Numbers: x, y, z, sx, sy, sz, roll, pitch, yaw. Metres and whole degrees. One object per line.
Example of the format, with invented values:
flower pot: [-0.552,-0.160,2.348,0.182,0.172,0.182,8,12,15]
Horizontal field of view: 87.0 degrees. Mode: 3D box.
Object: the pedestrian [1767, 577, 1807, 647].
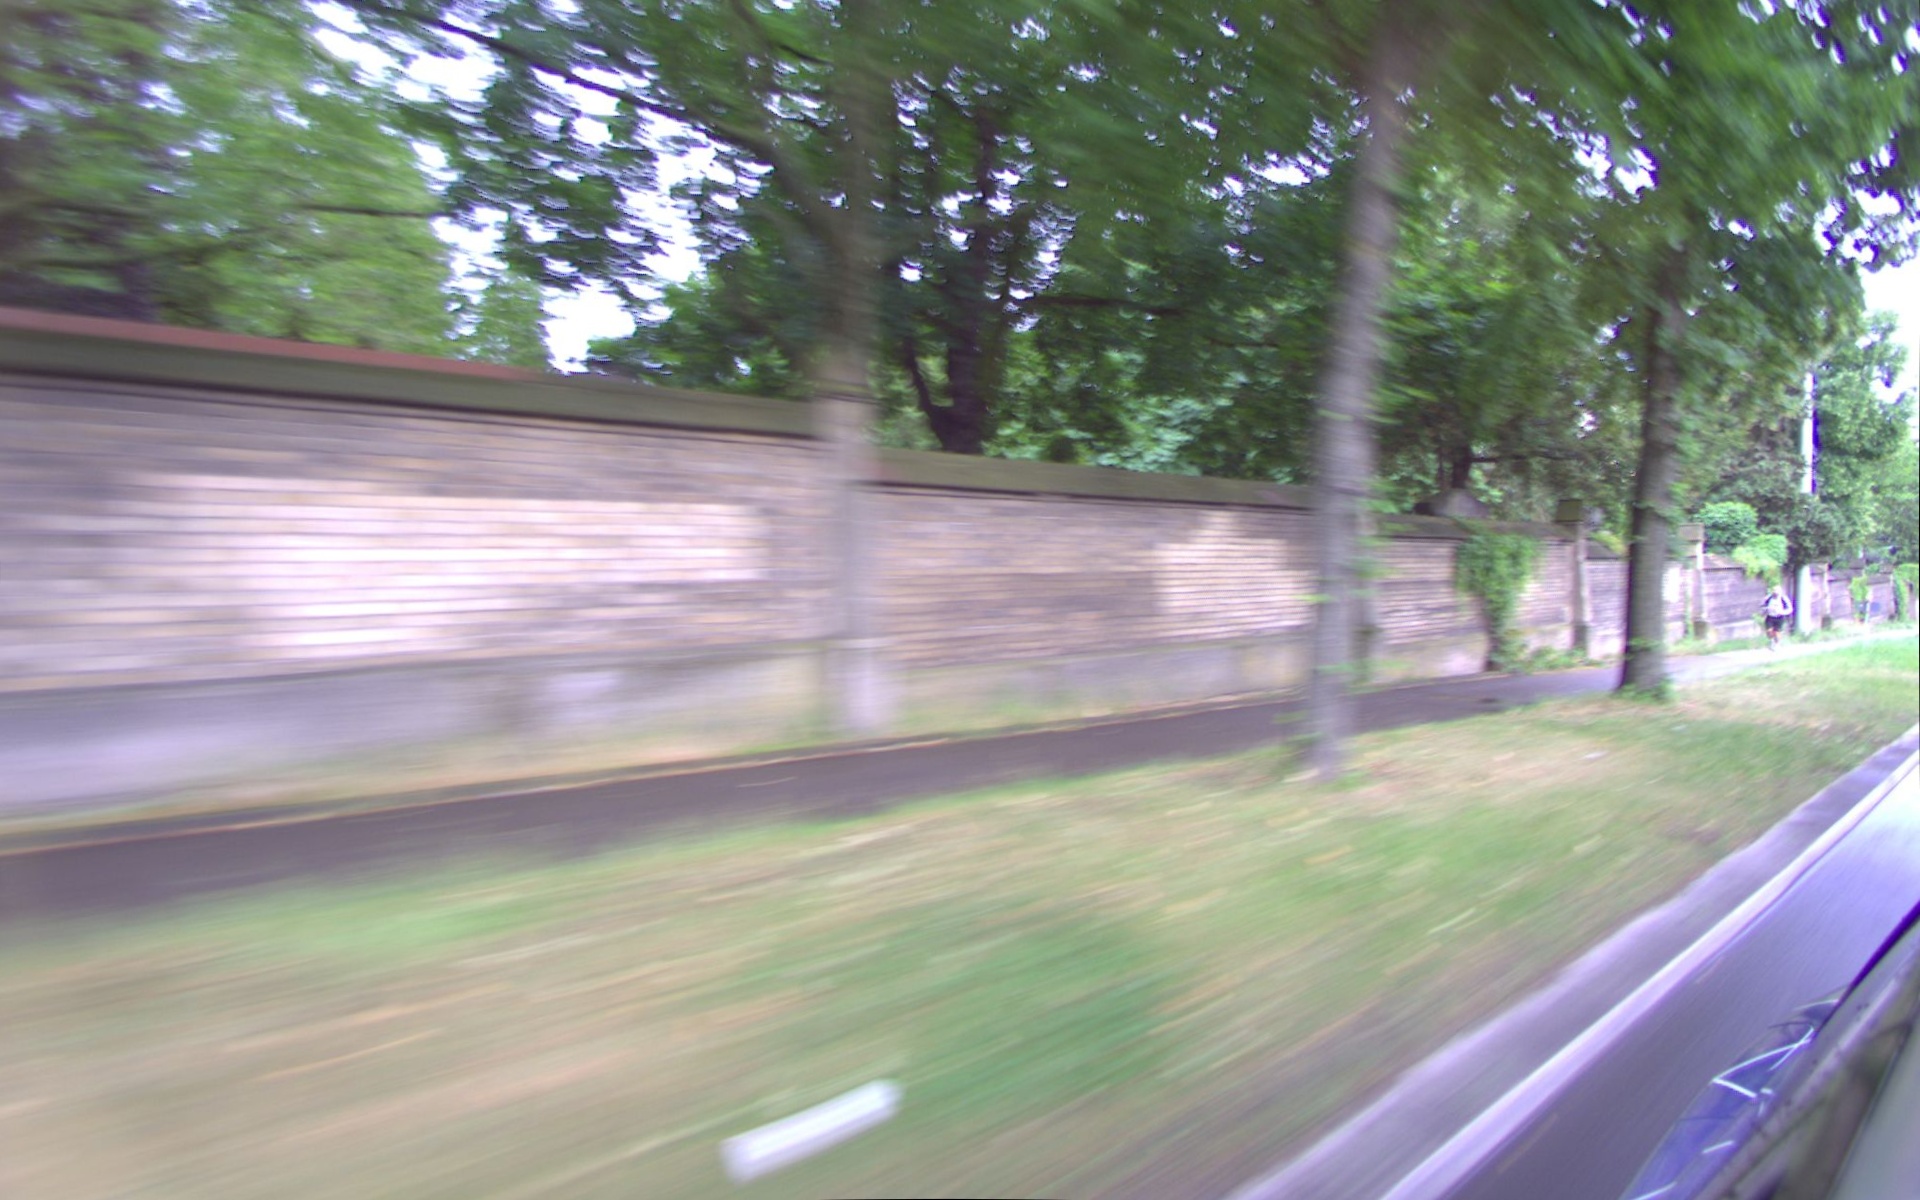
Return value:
pedestrian: [21.816,0.308,26.700,0.886,1.802,0.709,1,0,-44]
